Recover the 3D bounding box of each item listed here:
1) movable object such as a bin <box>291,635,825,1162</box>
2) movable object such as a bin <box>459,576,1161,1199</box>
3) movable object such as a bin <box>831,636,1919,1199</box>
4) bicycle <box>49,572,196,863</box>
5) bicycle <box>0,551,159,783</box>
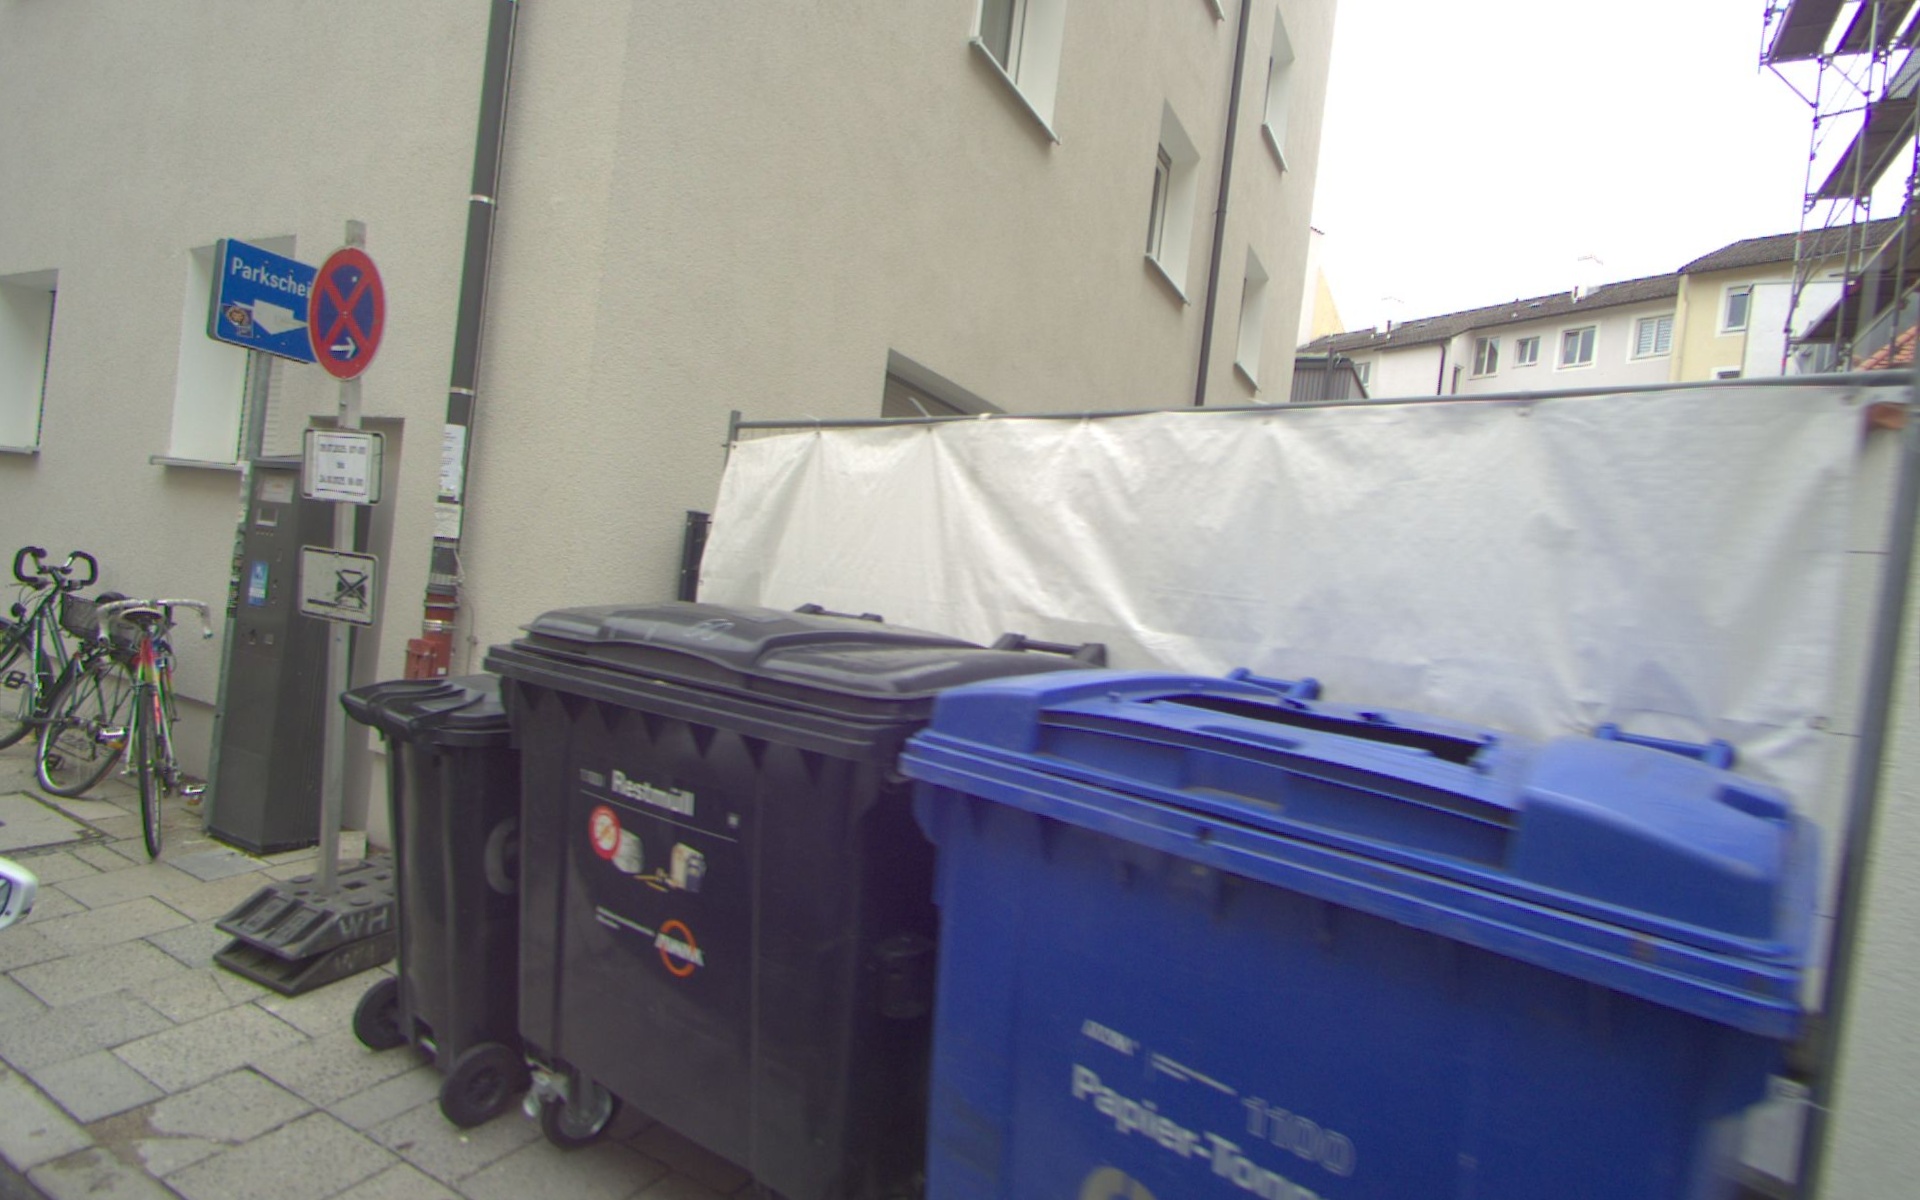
[{"bbox_3d":[-1.142,0.711,2.998,0.777,1.110,1.209,8,4,36],"label":"movable object such as a bin"},{"bbox_3d":[-0.345,0.690,2.449,1.153,1.364,1.124,8,4,37],"label":"movable object such as a bin"},{"bbox_3d":[0.637,0.821,1.722,1.299,1.365,1.083,8,4,41],"label":"movable object such as a bin"},{"bbox_3d":[-3.686,0.442,4.391,1.413,1.005,0.280,8,5,42],"label":"bicycle"},{"bbox_3d":[-4.766,0.298,5.146,1.304,1.005,0.404,6,4,20],"label":"bicycle"}]
